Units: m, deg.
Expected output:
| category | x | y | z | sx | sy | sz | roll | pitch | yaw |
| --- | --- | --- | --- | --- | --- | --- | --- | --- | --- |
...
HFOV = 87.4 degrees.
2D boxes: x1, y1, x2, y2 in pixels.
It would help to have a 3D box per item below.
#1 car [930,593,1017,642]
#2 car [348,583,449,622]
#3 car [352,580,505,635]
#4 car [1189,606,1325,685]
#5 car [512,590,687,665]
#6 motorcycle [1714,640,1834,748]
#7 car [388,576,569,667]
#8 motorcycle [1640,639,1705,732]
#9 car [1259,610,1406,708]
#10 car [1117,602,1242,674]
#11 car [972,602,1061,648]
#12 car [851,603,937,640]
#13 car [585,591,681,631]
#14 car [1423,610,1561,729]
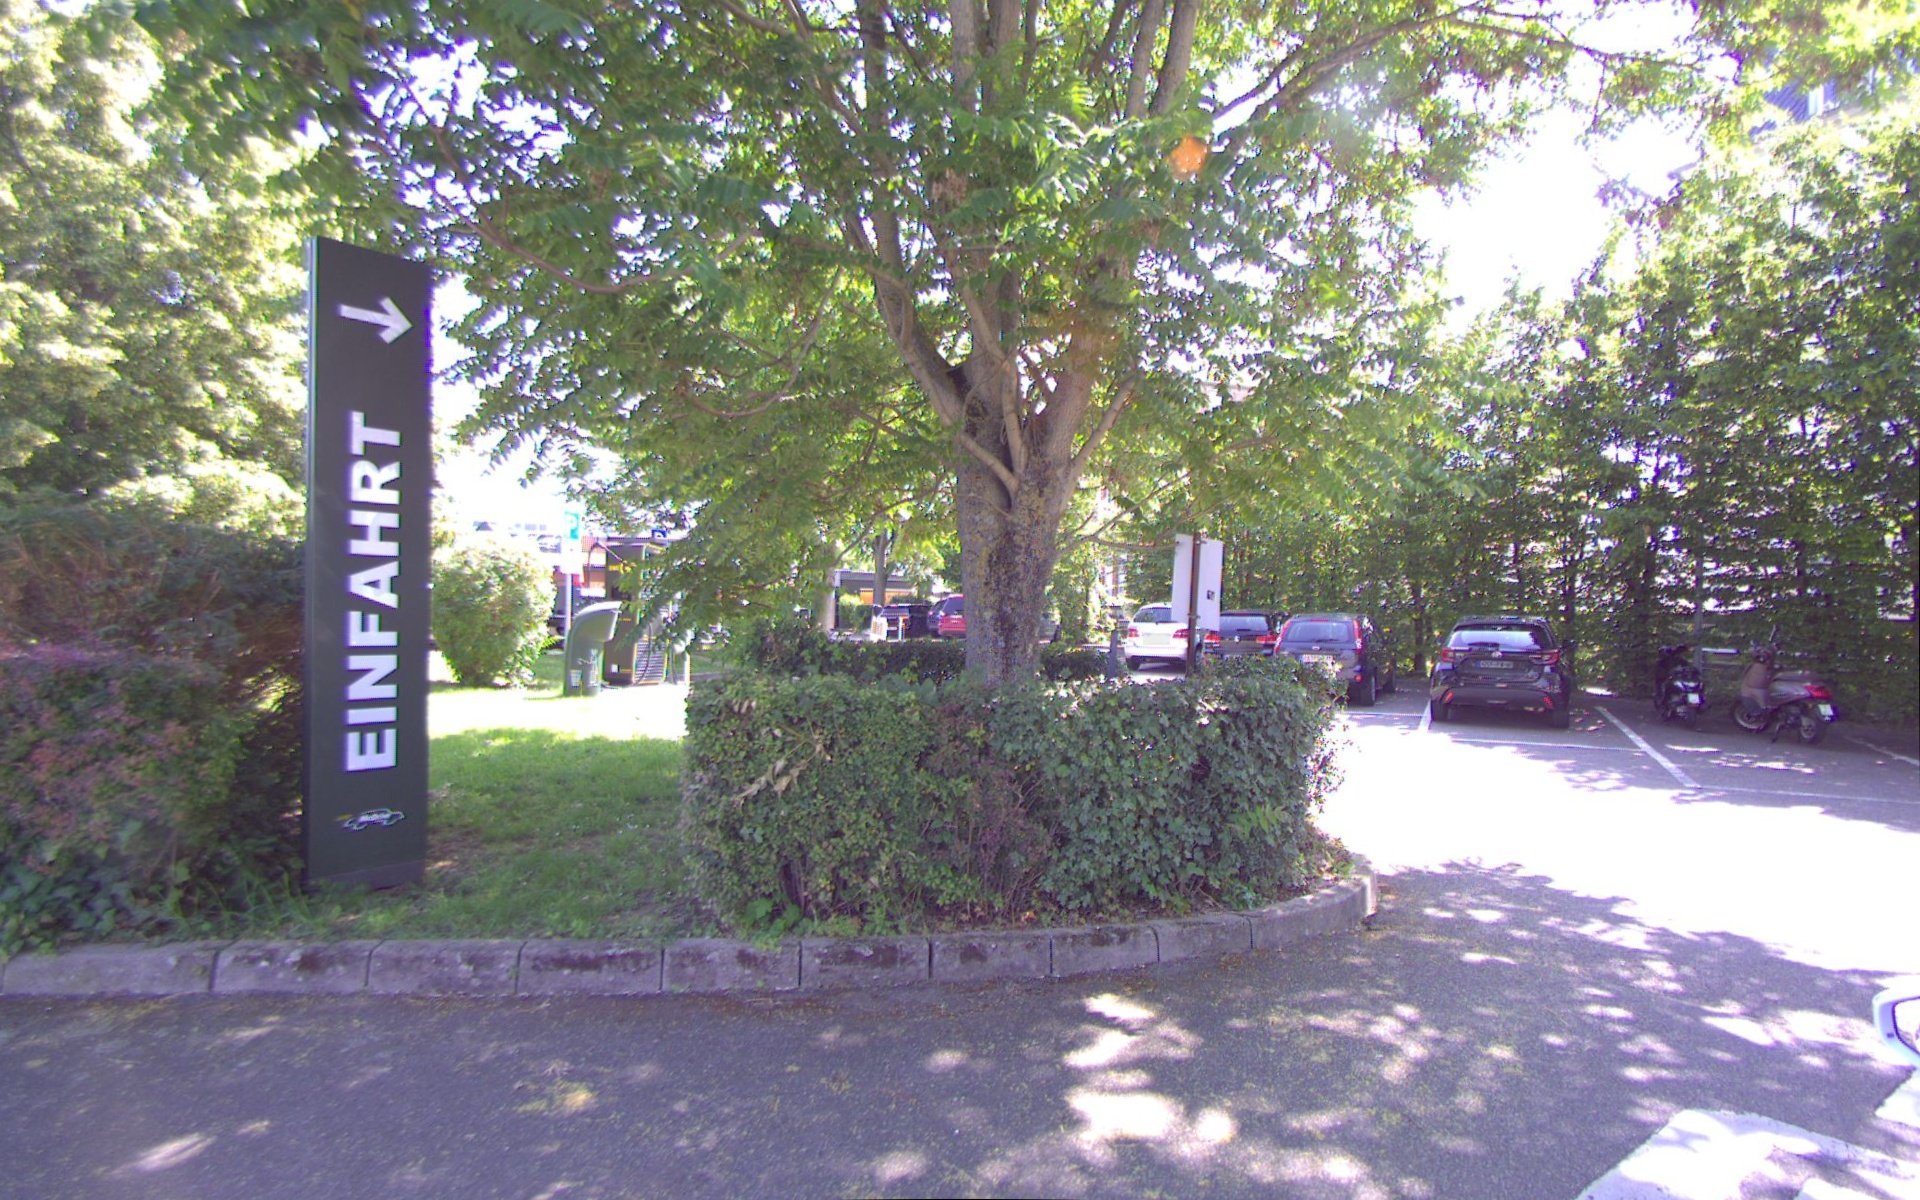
| category | x | y | z | sx | sy | sz | roll | pitch | yaw |
| --- | --- | --- | --- | --- | --- | --- | --- | --- | --- |
| car | 0.560 | 0.632 | 38.047 | 1.741 | 1.758 | 3.995 | -1 | 0 | 26 |
| car | -24.397 | 0.110 | 43.617 | 4.066 | 1.573 | 1.918 | 2 | 0 | 28 |
| car | -17.895 | 0.266 | 34.032 | 1.828 | 1.708 | 4.307 | 2 | 0 | 27 |
| car | 6.549 | 0.903 | 21.888 | 1.744 | 1.489 | 3.988 | 0 | 1 | 34 |
| car | -8.232 | 0.599 | 22.757 | 4.303 | 1.472 | 1.853 | 1 | -2 | 41 |
| motorcycle | 9.982 | 1.110 | 12.379 | 0.558 | 1.184 | 1.606 | 1 | -1 | 16 |
| car | -10.224 | 0.420 | 21.189 | 4.303 | 1.708 | 1.853 | 2 | -2 | 41 |
| motorcycle | 9.750 | 1.136 | 13.780 | 0.466 | 1.156 | 1.604 | 1 | 0 | 26 |
| car | 6.672 | 0.939 | 17.741 | 1.675 | 1.473 | 3.990 | 0 | 0 | 32 |
| car | 5.472 | 0.852 | 24.695 | 1.744 | 1.593 | 3.989 | 1 | 0 | 33 |
| car | 2.028 | 0.812 | 34.853 | 1.741 | 1.495 | 3.996 | 0 | 0 | 25 |
| car | -2.672 | 0.868 | 41.387 | 1.741 | 1.407 | 3.995 | 0 | -1 | 27 |
| car | -15.236 | 0.470 | 46.742 | 4.288 | 1.708 | 1.859 | 2 | 2 | 30 |
| car | 8.067 | 0.924 | 15.192 | 1.631 | 1.489 | 3.897 | 0 | 1 | 29 |
